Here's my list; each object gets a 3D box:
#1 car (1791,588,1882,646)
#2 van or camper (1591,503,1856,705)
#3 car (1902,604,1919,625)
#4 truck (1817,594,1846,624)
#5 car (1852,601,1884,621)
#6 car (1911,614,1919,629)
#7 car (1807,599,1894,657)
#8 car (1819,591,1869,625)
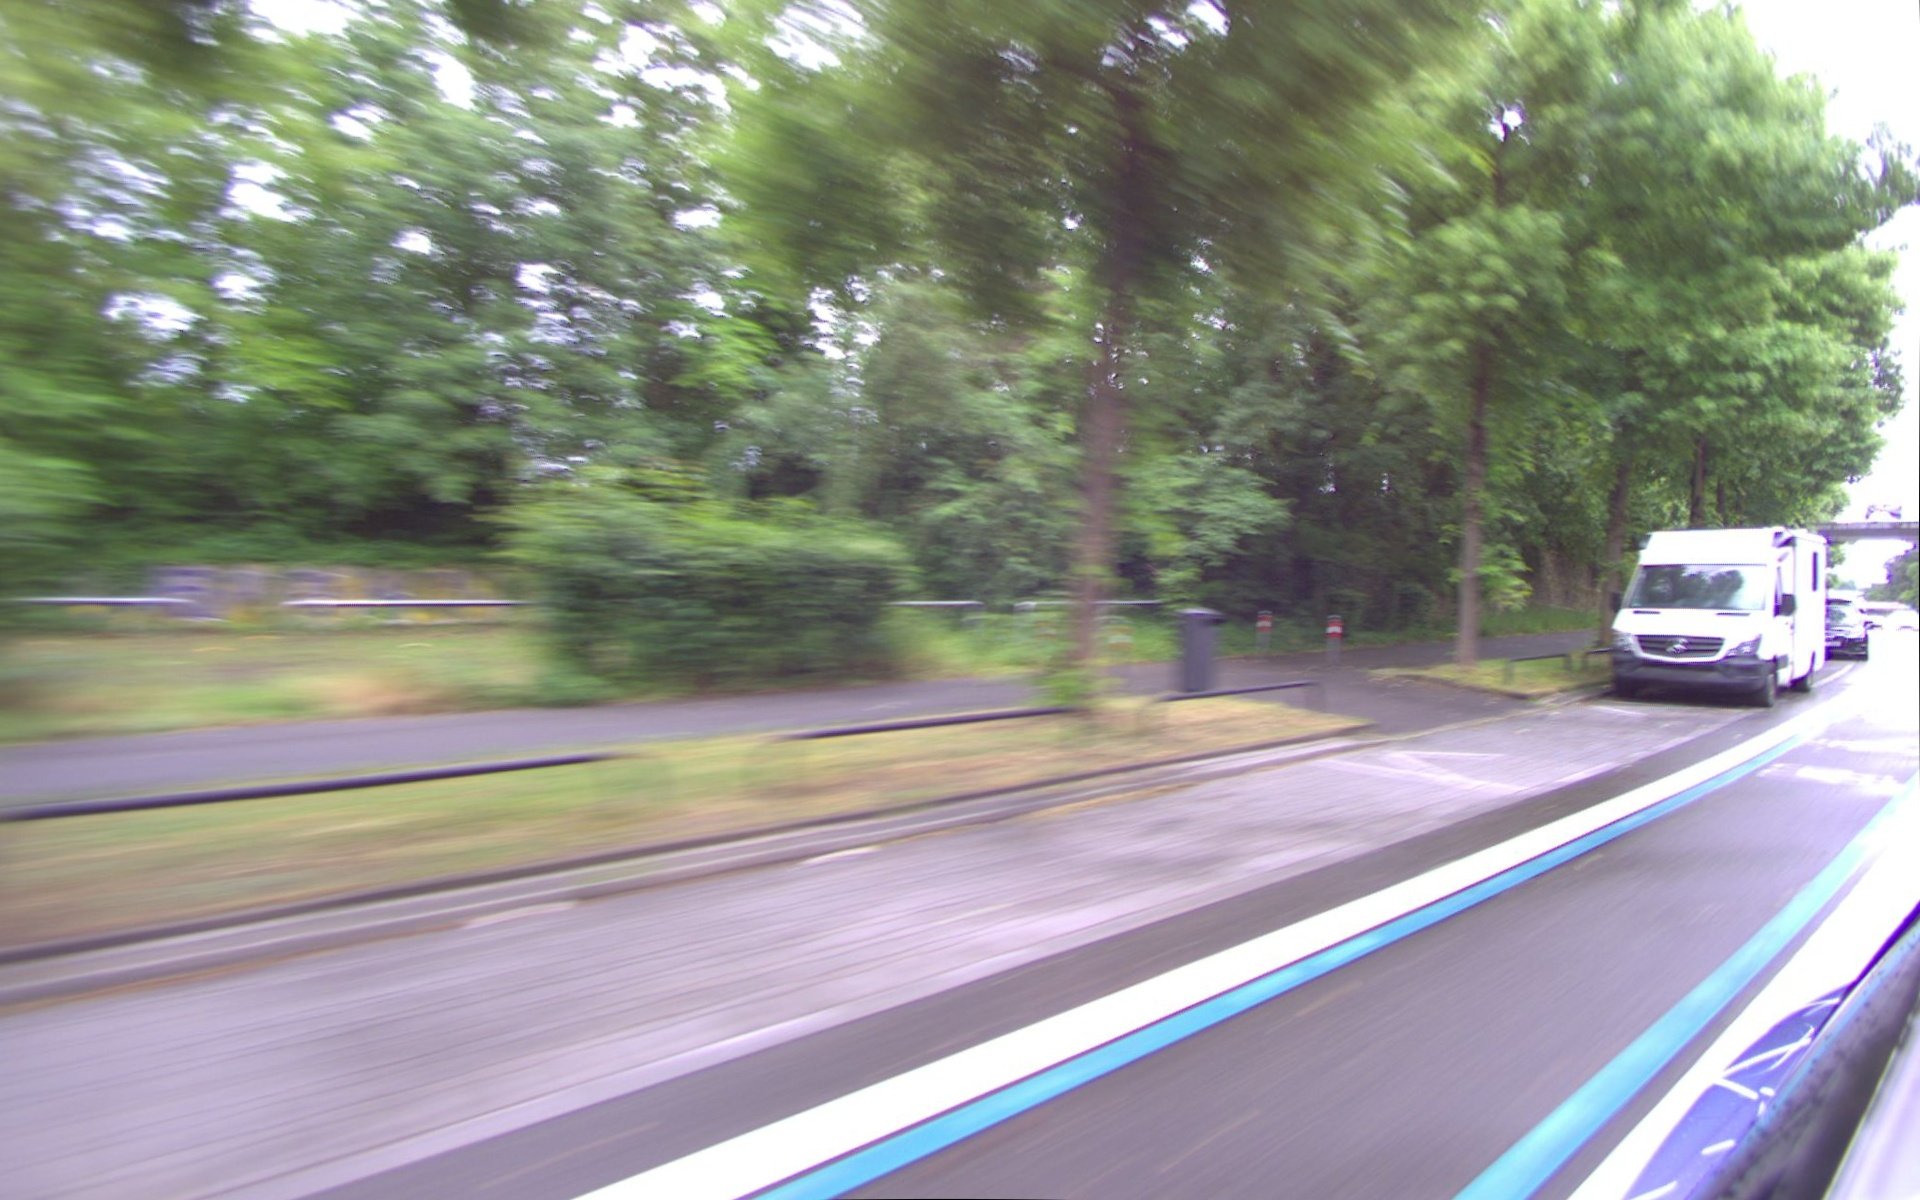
[{"bbox_3d":[27.434,0.504,31.632,1.992,1.666,4.282,-2,-1,42],"label":"car"},{"bbox_3d":[12.622,0.052,16.509,6.272,2.698,2.320,0,0,-42],"label":"van or camper"},{"bbox_3d":[71.879,1.125,75.759,1.821,1.481,3.824,0,-2,40],"label":"car"},{"bbox_3d":[70.738,0.755,82.216,1.717,2.363,3.941,1,-1,40],"label":"truck"},{"bbox_3d":[71.416,0.870,79.639,1.719,1.416,4.523,1,-1,40],"label":"car"},{"bbox_3d":[104.707,2.349,109.774,1.969,1.571,3.813,1,0,40],"label":"car"},{"bbox_3d":[24.476,0.702,27.902,1.676,1.393,3.942,1,2,40],"label":"car"},{"bbox_3d":[44.096,0.368,50.523,1.711,1.639,4.200,1,1,39],"label":"car"}]
